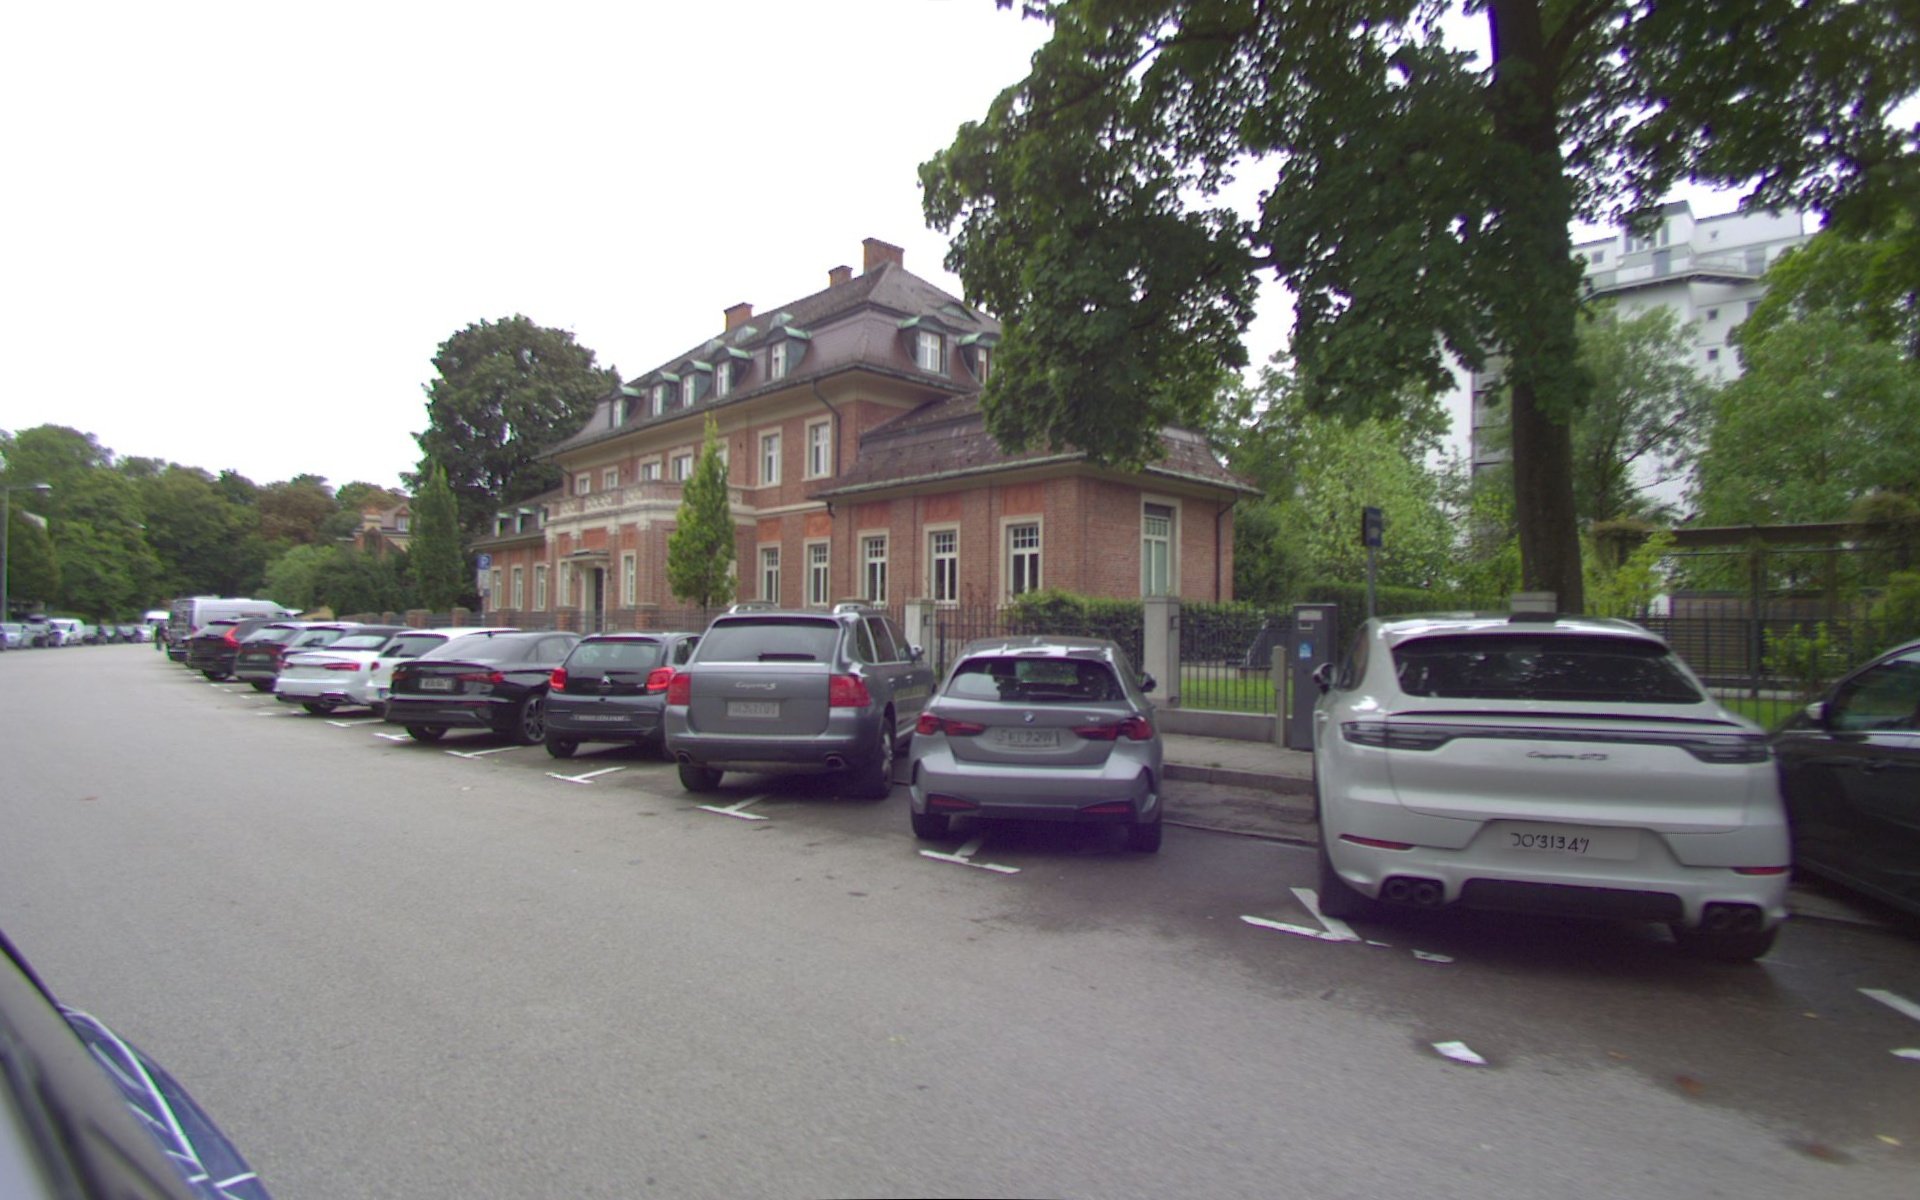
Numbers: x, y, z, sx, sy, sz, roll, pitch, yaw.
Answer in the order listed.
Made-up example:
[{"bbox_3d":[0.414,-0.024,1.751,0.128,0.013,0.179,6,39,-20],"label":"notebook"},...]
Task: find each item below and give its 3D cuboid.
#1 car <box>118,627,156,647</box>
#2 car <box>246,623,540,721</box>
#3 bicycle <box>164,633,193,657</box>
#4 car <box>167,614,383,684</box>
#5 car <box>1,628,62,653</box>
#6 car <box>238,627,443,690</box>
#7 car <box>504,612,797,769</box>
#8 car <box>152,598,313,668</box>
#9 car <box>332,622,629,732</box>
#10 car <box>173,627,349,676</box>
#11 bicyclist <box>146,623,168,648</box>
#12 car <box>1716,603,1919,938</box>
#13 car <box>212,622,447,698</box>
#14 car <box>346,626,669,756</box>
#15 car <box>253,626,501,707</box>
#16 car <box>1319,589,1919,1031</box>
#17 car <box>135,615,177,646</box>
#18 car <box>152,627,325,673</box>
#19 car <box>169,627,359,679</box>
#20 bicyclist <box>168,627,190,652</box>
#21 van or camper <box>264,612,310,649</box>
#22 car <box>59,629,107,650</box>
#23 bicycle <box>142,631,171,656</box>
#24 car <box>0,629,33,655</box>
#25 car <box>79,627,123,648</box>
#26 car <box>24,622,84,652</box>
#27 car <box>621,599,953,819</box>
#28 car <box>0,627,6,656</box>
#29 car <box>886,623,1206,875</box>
[{"bbox_3d":[-70.844,3.208,87.175,1.845,1.581,5.015,4,-5,-32],"label":"car"},{"bbox_3d":[-9.746,1.196,17.892,1.880,1.462,4.492,0,-2,16],"label":"car"},{"bbox_3d":[-43.213,2.487,55.971,0.697,1.315,2.125,1,-2,-22],"label":"bicycle"},{"bbox_3d":[-18.355,1.325,27.393,1.973,1.677,4.496,1,-3,20],"label":"car"},{"bbox_3d":[-57.322,2.498,62.535,1.723,1.492,4.611,1,-2,-29],"label":"car"},{"bbox_3d":[-16.025,1.529,26.450,1.808,1.483,4.298,0,-4,22],"label":"car"},{"bbox_3d":[-3.714,1.040,13.113,1.943,1.642,4.401,1,-2,8],"label":"car"},{"bbox_3d":[-28.618,1.351,39.989,2.223,2.583,4.594,-1,-3,27],"label":"car"},{"bbox_3d":[-7.653,1.247,16.756,1.915,1.521,4.492,1,-4,16],"label":"car"},{"bbox_3d":[-22.791,1.691,33.227,1.807,1.462,4.496,0,-3,20],"label":"car"},{"bbox_3d":[-44.058,1.968,55.533,0.687,1.362,0.933,1,-2,-23],"label":"bicyclist"},{"bbox_3d":[5.553,0.830,4.710,1.870,1.611,4.195,0,-2,16],"label":"car"},{"bbox_3d":[-14.496,1.335,23.617,1.874,1.579,4.499,0,-2,18],"label":"car"},{"bbox_3d":[-5.919,1.119,13.947,1.944,1.450,4.399,1,-2,10],"label":"car"},{"bbox_3d":[-11.683,1.301,20.667,1.644,1.462,4.367,0,-3,19],"label":"car"},{"bbox_3d":[3.318,0.846,6.178,2.070,1.633,4.384,0,-2,19],"label":"car"},{"bbox_3d":[-73.957,2.840,93.164,2.050,2.707,6.106,4,-4,-30],"label":"car"},{"bbox_3d":[-24.907,1.747,35.137,1.965,1.462,4.491,0,-3,23],"label":"car"},{"bbox_3d":[-21.196,1.634,31.080,1.913,1.429,4.496,0,-3,20],"label":"car"},{"bbox_3d":[-43.196,2.182,55.949,0.687,1.408,0.933,1,-2,-21],"label":"bicyclist"},{"bbox_3d":[-57.401,2.637,86.435,2.420,2.963,7.234,3,-3,-28],"label":"van or camper"},{"bbox_3d":[-62.573,2.823,72.269,1.723,1.475,4.255,2,-3,-29],"label":"car"},{"bbox_3d":[-44.131,2.368,55.603,0.696,1.315,2.125,1,-2,-22],"label":"bicycle"},{"bbox_3d":[-55.229,2.422,58.401,1.723,1.492,3.900,1,-2,-30],"label":"car"},{"bbox_3d":[-65.226,2.868,76.926,1.703,1.541,4.217,3,-4,-29],"label":"car"},{"bbox_3d":[-59.903,2.470,67.018,1.797,1.875,4.913,0,-2,-28],"label":"car"},{"bbox_3d":[-1.433,0.929,10.354,2.112,1.712,4.401,1,-2,8],"label":"car"},{"bbox_3d":[-52.244,2.210,53.499,1.724,1.551,4.582,1,-2,-32],"label":"car"},{"bbox_3d":[0.840,0.984,8.527,1.994,1.502,4.400,1,-2,9],"label":"car"}]
